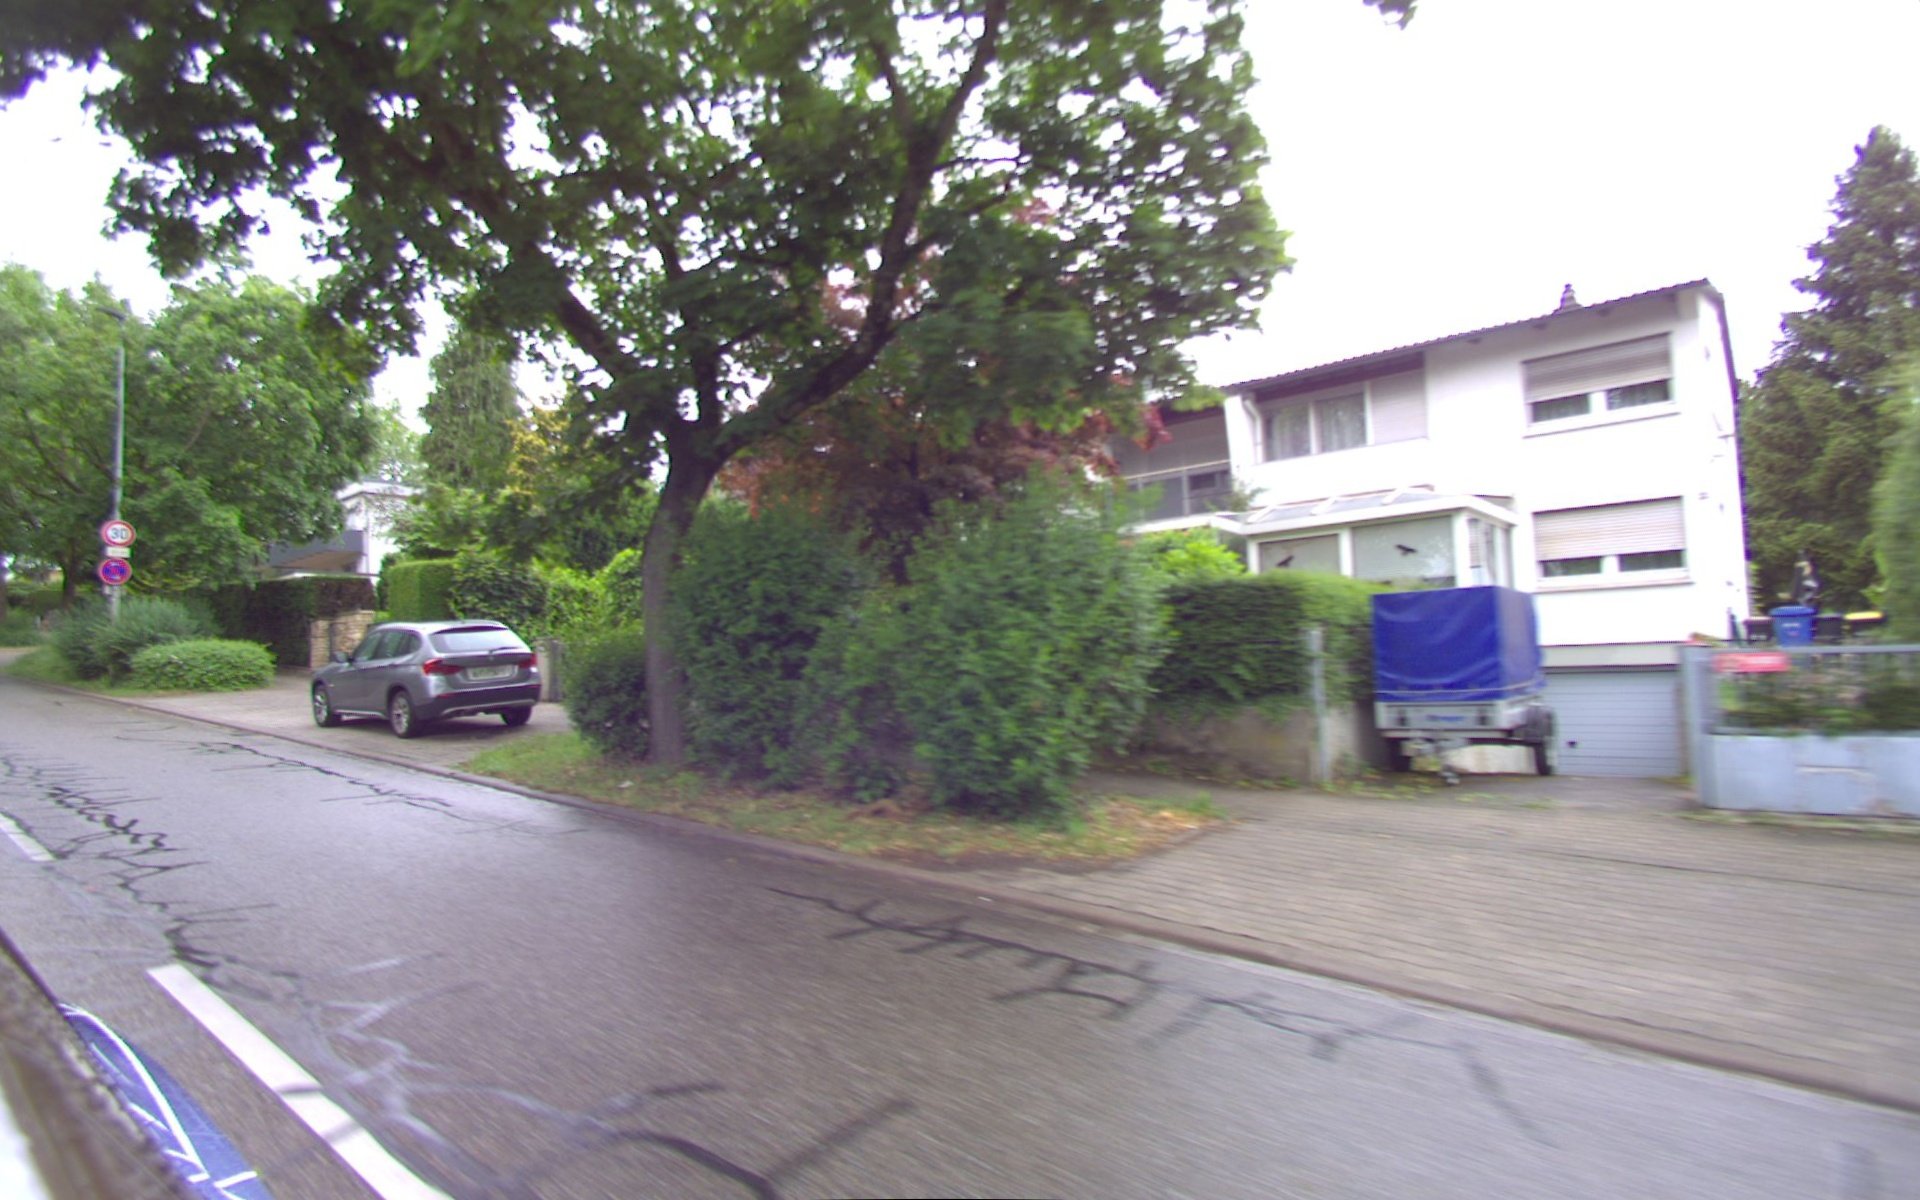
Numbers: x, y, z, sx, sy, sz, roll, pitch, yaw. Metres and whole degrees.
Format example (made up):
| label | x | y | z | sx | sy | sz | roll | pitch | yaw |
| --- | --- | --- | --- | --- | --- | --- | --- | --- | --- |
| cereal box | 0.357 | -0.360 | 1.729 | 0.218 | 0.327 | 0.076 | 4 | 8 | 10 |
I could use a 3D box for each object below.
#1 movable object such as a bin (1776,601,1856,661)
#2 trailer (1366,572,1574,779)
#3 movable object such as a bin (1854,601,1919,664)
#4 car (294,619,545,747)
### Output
| label | x | y | z | sx | sy | sz | roll | pitch | yaw |
| --- | --- | --- | --- | --- | --- | --- | --- | --- | --- |
| movable object such as a bin | 15.026 | 0.539 | 17.766 | 1.016 | 1.016 | 1.011 | -3 | -2 | 41 |
| trailer | 5.376 | 0.845 | 10.518 | 1.422 | 1.813 | 3.090 | -4 | -8 | 35 |
| movable object such as a bin | 15.806 | 0.543 | 17.083 | 1.016 | 1.016 | 1.011 | -3 | -2 | 41 |
| car | -8.001 | 1.109 | 14.822 | 4.278 | 1.553 | 1.647 | -1 | 1 | 38 |
